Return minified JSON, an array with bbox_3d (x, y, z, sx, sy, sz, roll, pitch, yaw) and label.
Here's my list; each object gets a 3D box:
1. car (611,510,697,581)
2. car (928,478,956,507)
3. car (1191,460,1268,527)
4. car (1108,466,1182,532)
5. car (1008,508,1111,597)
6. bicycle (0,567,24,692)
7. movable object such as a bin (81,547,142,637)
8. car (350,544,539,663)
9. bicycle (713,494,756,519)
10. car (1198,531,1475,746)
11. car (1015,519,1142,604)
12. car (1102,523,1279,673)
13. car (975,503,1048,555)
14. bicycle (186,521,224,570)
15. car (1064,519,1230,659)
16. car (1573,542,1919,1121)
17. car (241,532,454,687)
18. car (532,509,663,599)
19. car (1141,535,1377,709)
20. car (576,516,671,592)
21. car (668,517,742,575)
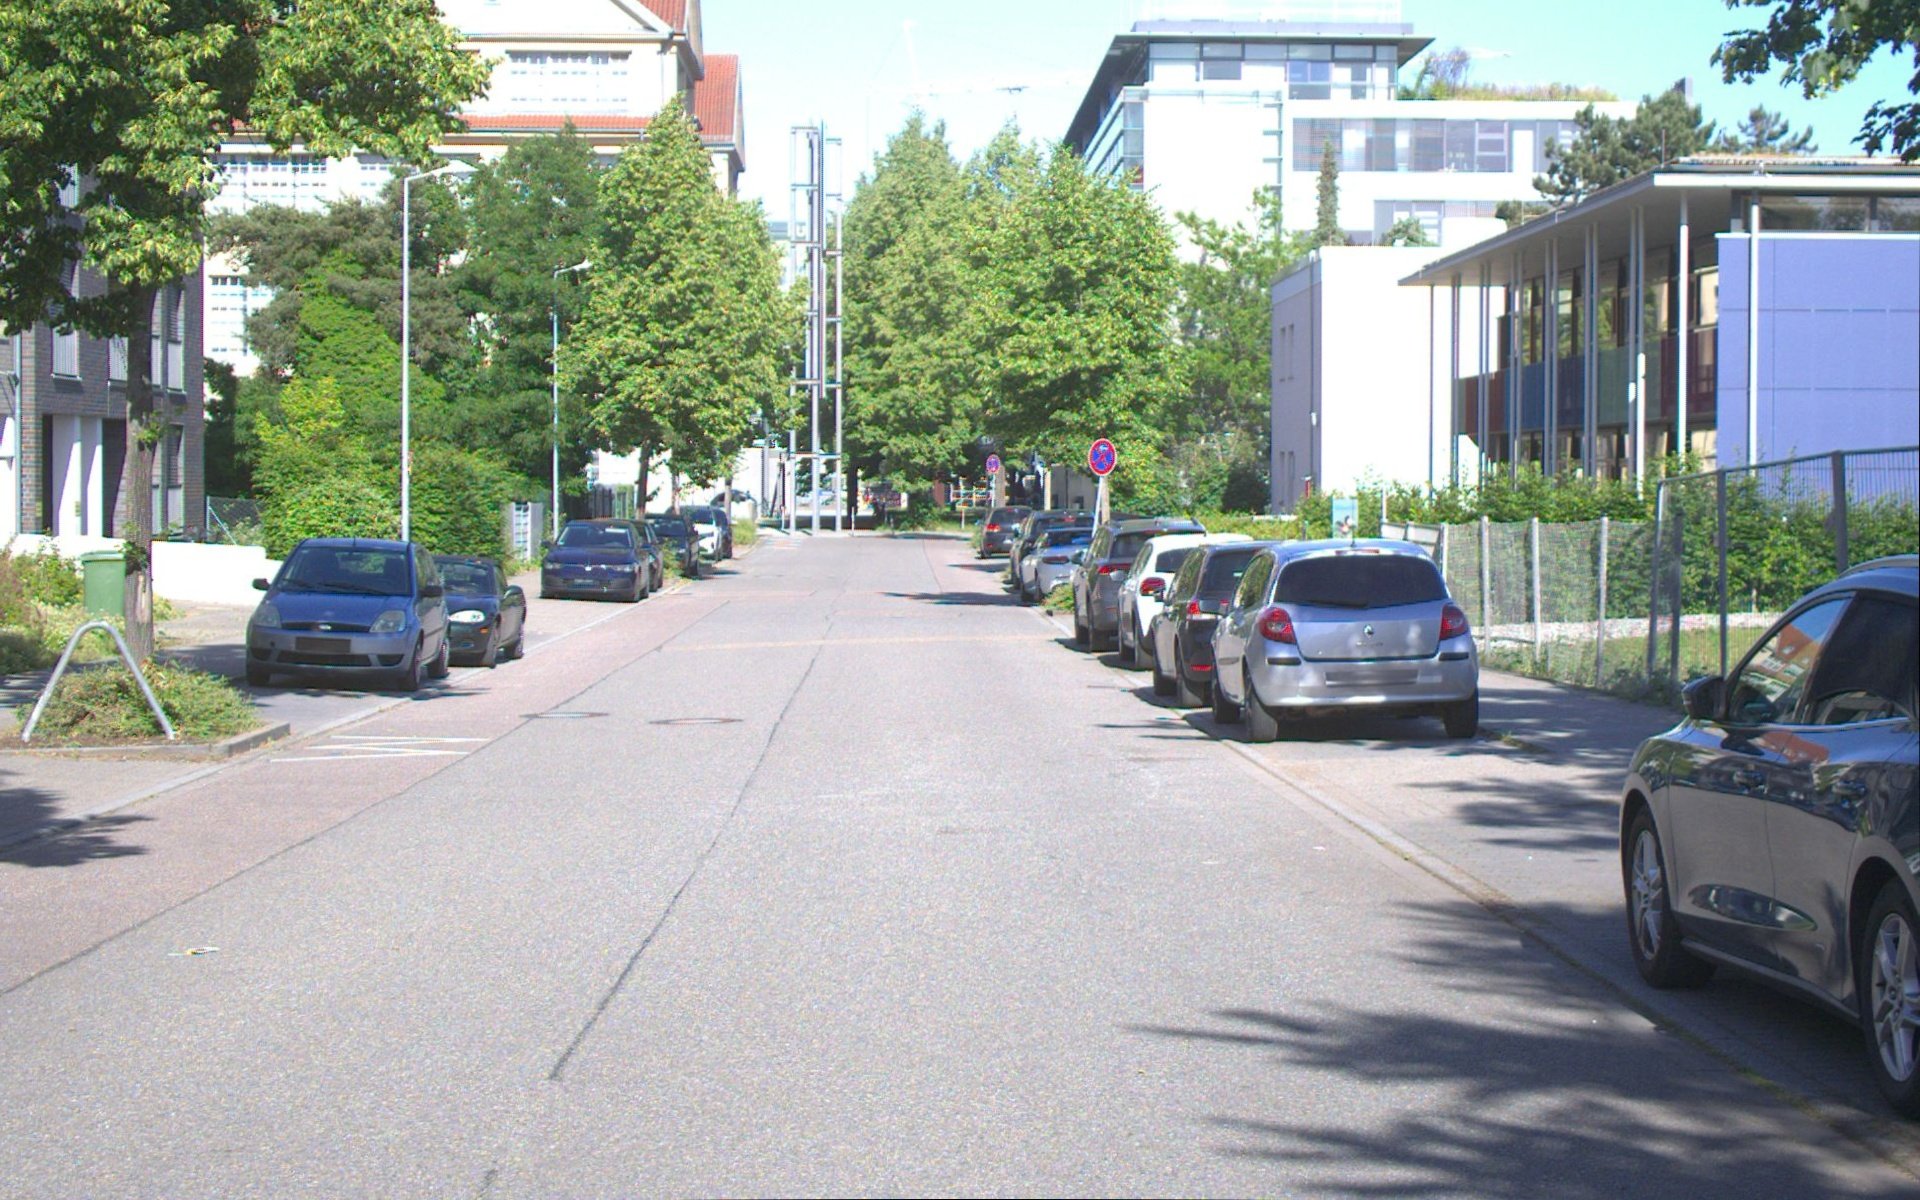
[{"bbox_3d":[-7.048,-1.275,79.486,1.694,1.599,3.942,0,1,-1],"label":"car"},{"bbox_3d":[-1.308,-7.806,249.739,1.993,2.006,4.001,0,3,-1],"label":"car"},{"bbox_3d":[8.294,-3.285,106.135,1.993,2.006,4.001,0,2,-1],"label":"car"},{"bbox_3d":[5.685,-3.114,106.082,2.024,2.006,4.001,0,2,-1],"label":"car"},{"bbox_3d":[2.005,-0.999,70.474,1.821,1.713,4.120,-2,2,-1],"label":"car"},{"bbox_3d":[-8.832,0.282,30.591,0.283,1.120,1.984,1,2,5],"label":"bicycle"},{"bbox_3d":[-10.426,-0.102,42.257,0.607,1.087,0.637,0,2,-2],"label":"movable object such as a bin"},{"bbox_3d":[-5.960,0.007,40.103,1.599,1.213,3.875,2,2,0],"label":"car"},{"bbox_3d":[-7.690,-3.187,117.412,1.467,0.839,0.336,0,2,-5],"label":"bicycle"},{"bbox_3d":[2.843,0.240,26.682,1.662,1.507,4.000,0,1,-1],"label":"car"},{"bbox_3d":[2.126,-0.717,62.912,1.829,1.417,4.234,-2,1,-4],"label":"car"},{"bbox_3d":[2.588,-0.065,39.349,1.679,1.536,3.849,0,3,-1],"label":"car"},{"bbox_3d":[1.477,-2.047,99.502,1.993,1.481,4.000,0,1,-1],"label":"car"},{"bbox_3d":[-13.804,-1.005,62.865,0.253,0.834,1.774,0,3,2],"label":"bicycle"},{"bbox_3d":[2.367,-0.189,44.410,1.725,1.646,4.327,-2,2,-2],"label":"car"},{"bbox_3d":[3.148,0.550,10.235,1.676,1.433,4.440,0,1,-2],"label":"car"},{"bbox_3d":[-6.134,0.051,34.771,1.611,1.460,3.875,0,1,-2],"label":"car"},{"bbox_3d":[-6.658,-0.863,63.518,1.762,1.522,4.000,3,1,2],"label":"car"},{"bbox_3d":[2.670,0.160,31.510,1.687,1.489,4.078,0,1,-2],"label":"car"},{"bbox_3d":[-6.836,-0.958,70.036,1.630,1.496,3.578,0,1,-1],"label":"car"},{"bbox_3d":[-6.885,-1.475,93.162,1.777,1.525,4.000,0,1,-1],"label":"car"}]
